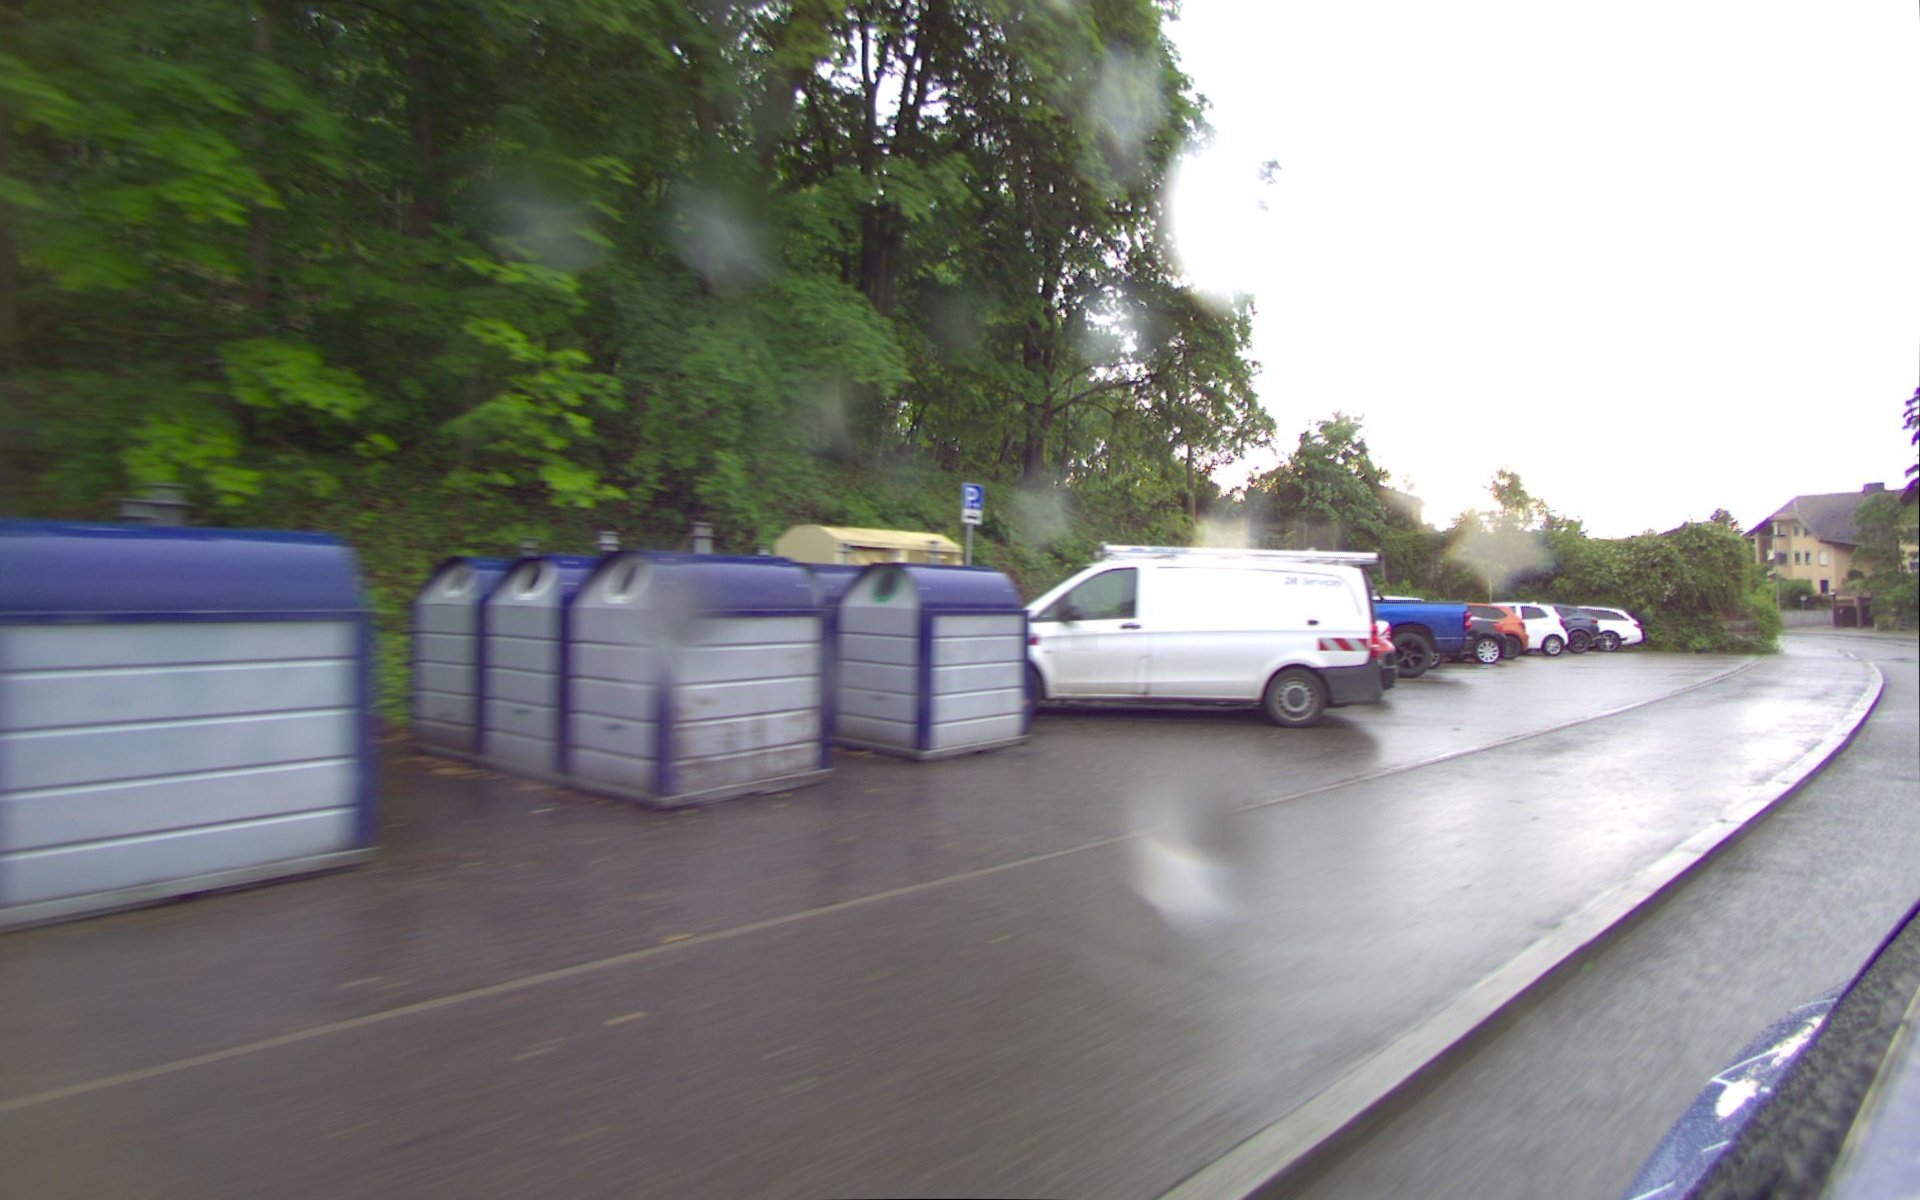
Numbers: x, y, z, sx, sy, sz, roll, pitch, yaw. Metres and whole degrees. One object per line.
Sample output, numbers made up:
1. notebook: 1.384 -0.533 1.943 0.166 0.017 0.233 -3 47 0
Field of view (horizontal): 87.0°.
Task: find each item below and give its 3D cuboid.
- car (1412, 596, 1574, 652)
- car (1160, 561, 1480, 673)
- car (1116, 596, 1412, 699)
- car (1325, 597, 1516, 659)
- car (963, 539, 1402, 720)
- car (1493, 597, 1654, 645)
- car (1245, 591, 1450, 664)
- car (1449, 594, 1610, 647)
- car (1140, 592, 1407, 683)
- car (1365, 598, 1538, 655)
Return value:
1. car: 15.319 0.660 29.197 3.722 1.498 1.752 1 0 -1
2. car: 6.788 0.302 19.667 5.383 1.994 2.329 1 0 4
3. car: 4.222 0.636 14.528 3.726 1.365 1.761 0 0 3
4. car: 10.952 0.646 24.251 3.772 1.419 1.716 0 0 3
5. car: 2.459 0.316 12.169 4.754 1.965 2.154 0 0 3
6. car: 20.586 0.687 34.134 4.251 1.483 1.805 1 0 14
7. car: 8.340 0.565 22.028 3.840 1.505 1.618 0 0 2
8. car: 17.867 0.625 31.897 4.018 1.526 1.750 1 0 5
9. car: 5.104 0.587 16.844 3.919 1.431 1.626 0 0 1
10. car: 12.922 0.673 26.772 3.727 1.419 1.716 0 0 4
